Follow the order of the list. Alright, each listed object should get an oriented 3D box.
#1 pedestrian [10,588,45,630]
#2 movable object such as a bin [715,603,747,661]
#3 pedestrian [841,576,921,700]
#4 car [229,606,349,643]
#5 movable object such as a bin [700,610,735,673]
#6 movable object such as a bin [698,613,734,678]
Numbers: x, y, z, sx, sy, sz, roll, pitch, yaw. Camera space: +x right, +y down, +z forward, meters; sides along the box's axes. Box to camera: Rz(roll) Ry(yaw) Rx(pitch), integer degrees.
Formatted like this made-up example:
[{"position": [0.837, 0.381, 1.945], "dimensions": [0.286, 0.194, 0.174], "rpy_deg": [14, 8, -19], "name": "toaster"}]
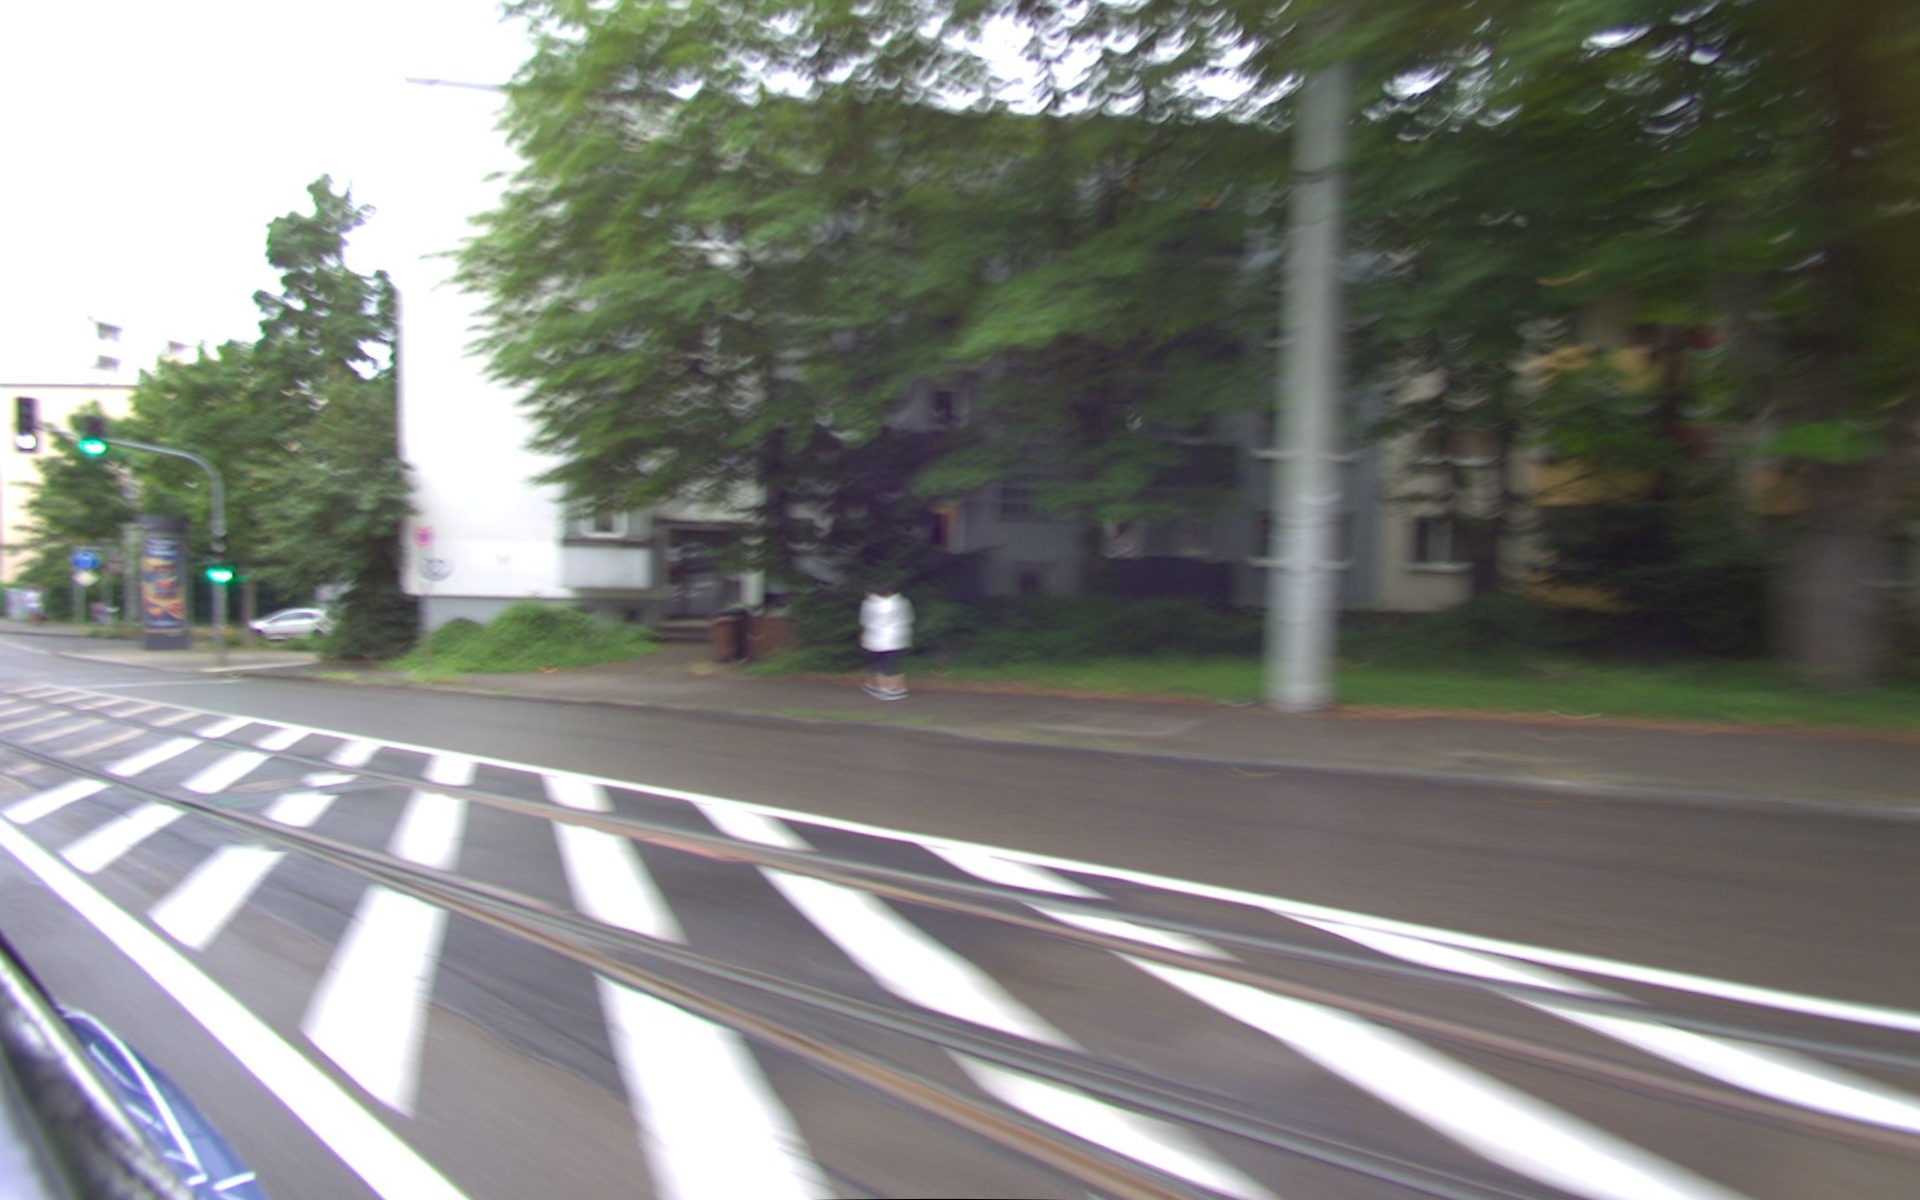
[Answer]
[{"position": [-43.743, 0.414, 47.498], "dimensions": [1.014, 1.859, 0.912], "rpy_deg": [3, 5, 32], "name": "pedestrian"}, {"position": [-5.243, 0.727, 23.174], "dimensions": [0.617, 1.242, 0.668], "rpy_deg": [1, 4, -4], "name": "movable object such as a bin"}, {"position": [-1.074, 0.491, 13.806], "dimensions": [0.867, 1.612, 0.578], "rpy_deg": [0, 4, 34], "name": "pedestrian"}, {"position": [-30.430, 1.106, 46.015], "dimensions": [4.096, 1.491, 2.004], "rpy_deg": [1, 4, -6], "name": "car"}, {"position": [-5.053, 0.865, 21.124], "dimensions": [0.617, 1.242, 0.668], "rpy_deg": [1, 4, -4], "name": "movable object such as a bin"}, {"position": [-4.926, 0.910, 20.465], "dimensions": [0.617, 1.242, 0.668], "rpy_deg": [1, 4, -4], "name": "movable object such as a bin"}]
